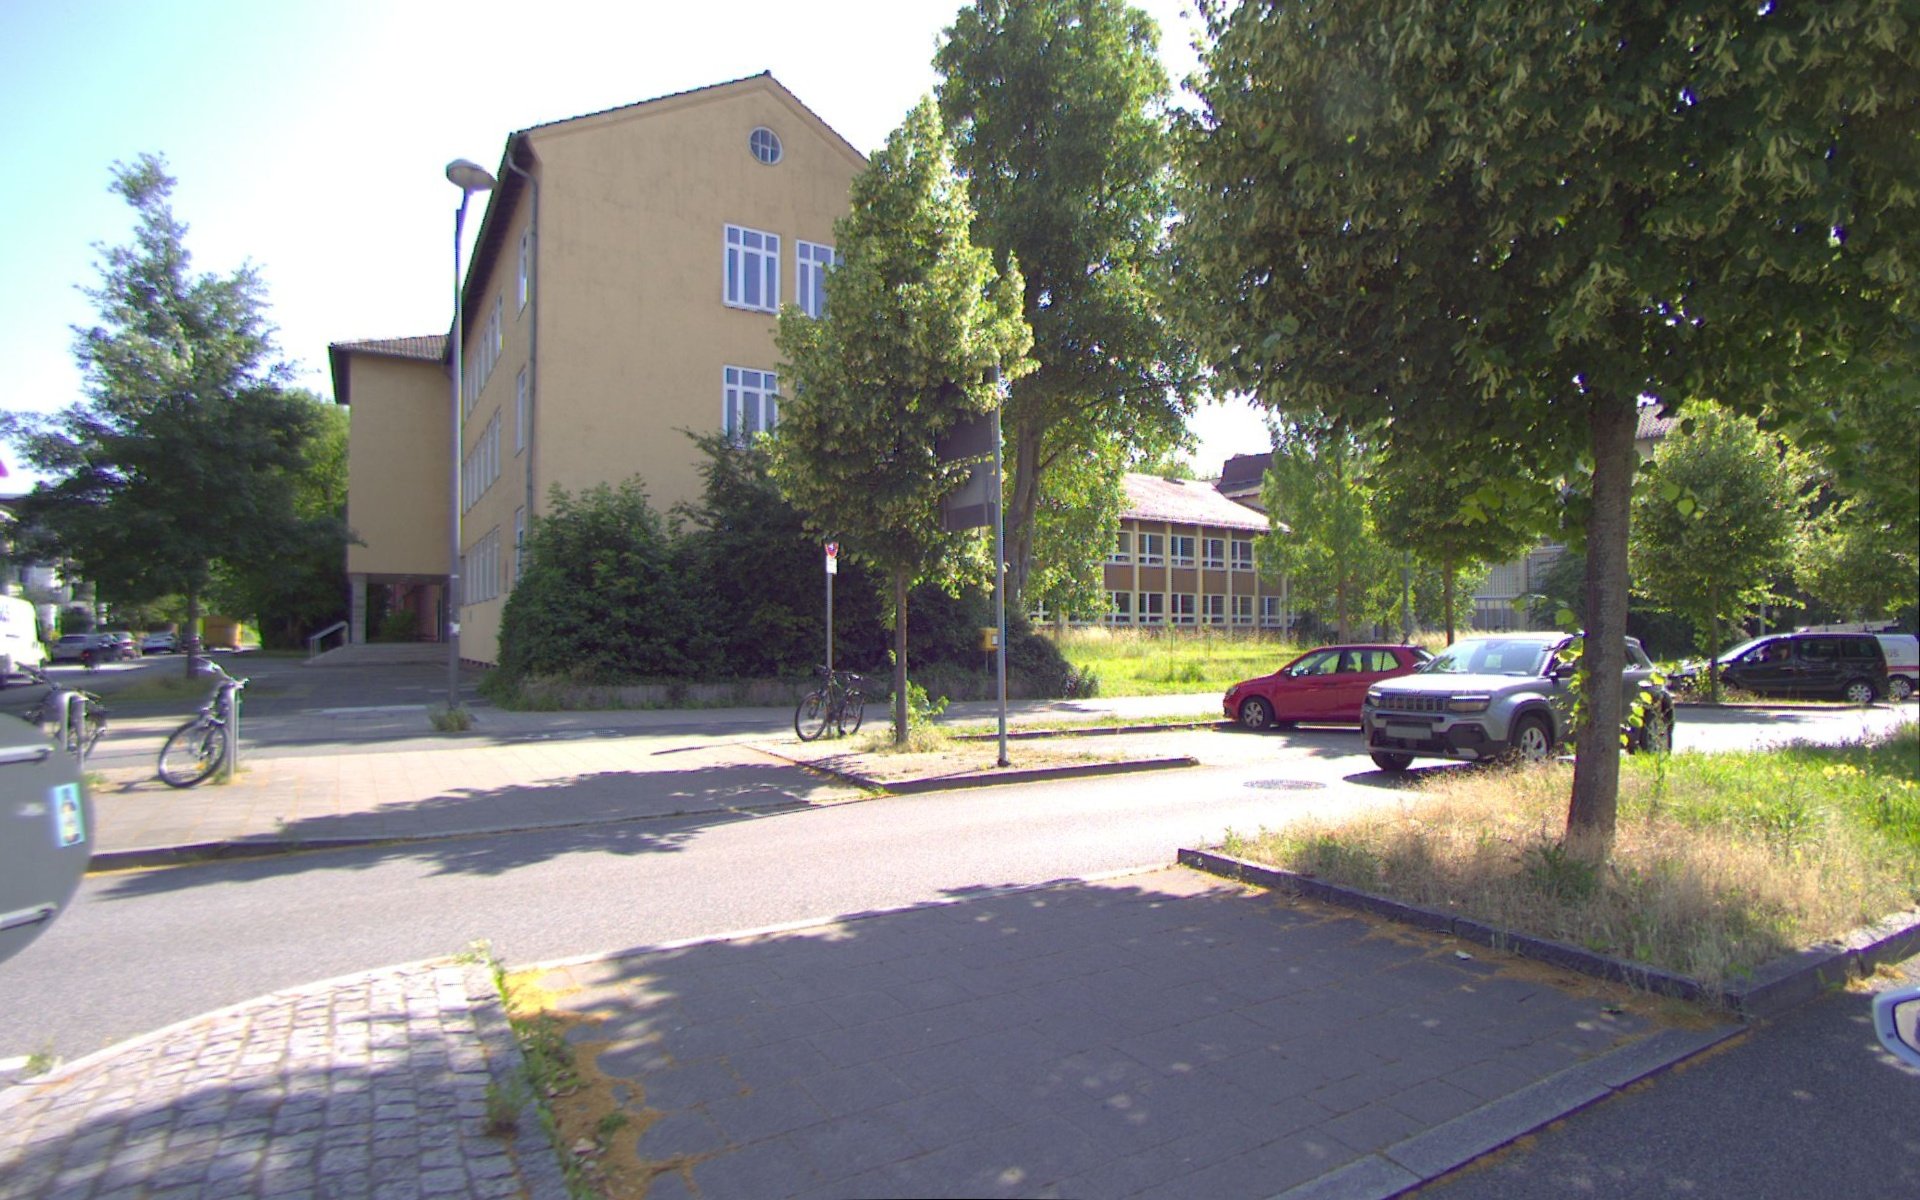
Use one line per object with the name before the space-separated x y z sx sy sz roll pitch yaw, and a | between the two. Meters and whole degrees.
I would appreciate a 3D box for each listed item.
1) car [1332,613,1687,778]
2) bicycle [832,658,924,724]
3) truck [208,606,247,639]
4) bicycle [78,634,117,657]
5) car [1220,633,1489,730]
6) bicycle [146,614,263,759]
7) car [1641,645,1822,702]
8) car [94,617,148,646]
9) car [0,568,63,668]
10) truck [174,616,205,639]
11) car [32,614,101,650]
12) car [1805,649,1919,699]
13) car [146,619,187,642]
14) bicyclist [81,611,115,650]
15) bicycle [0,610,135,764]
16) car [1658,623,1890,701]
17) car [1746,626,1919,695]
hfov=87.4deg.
car | 6.267 1.026 11.376 4.026 1.567 1.733 3 -4 -31
bicycle | -1.194 1.318 14.713 1.259 0.915 0.517 3 -4 -36
truck | -61.264 1.883 84.119 2.211 2.630 8.740 1 -2 -33
bicycle | -32.068 1.674 37.370 0.742 0.834 2.156 1 -2 -32
car | 6.753 1.335 17.354 3.938 1.485 1.992 -2 -3 38
bicycle | -7.526 0.798 10.109 0.732 1.273 2.529 2 -2 -33
car | 21.382 2.013 28.034 3.705 1.446 1.853 -1 -2 28
car | -49.412 1.851 59.195 1.844 1.659 3.966 1 -2 -32
car | -27.155 0.551 27.803 2.257 2.557 6.085 2 -3 -31
truck | -63.777 2.285 83.185 1.779 1.849 3.963 1 -2 -34
car | -44.581 1.583 50.196 1.844 1.728 3.966 1 -2 -32
car | 29.086 2.298 31.374 3.769 1.442 1.715 1 -2 23
car | -56.923 2.186 72.097 1.844 1.659 3.966 1 -2 -32
bicyclist | -32.019 1.132 37.341 0.707 1.409 1.285 2 -2 -32
bicycle | -8.449 0.771 9.468 0.732 1.273 2.501 1 -3 -33
car | 20.374 1.517 25.396 4.107 1.840 2.004 0 -2 21
car | 24.975 1.690 28.662 3.705 1.795 1.817 0 -2 28
